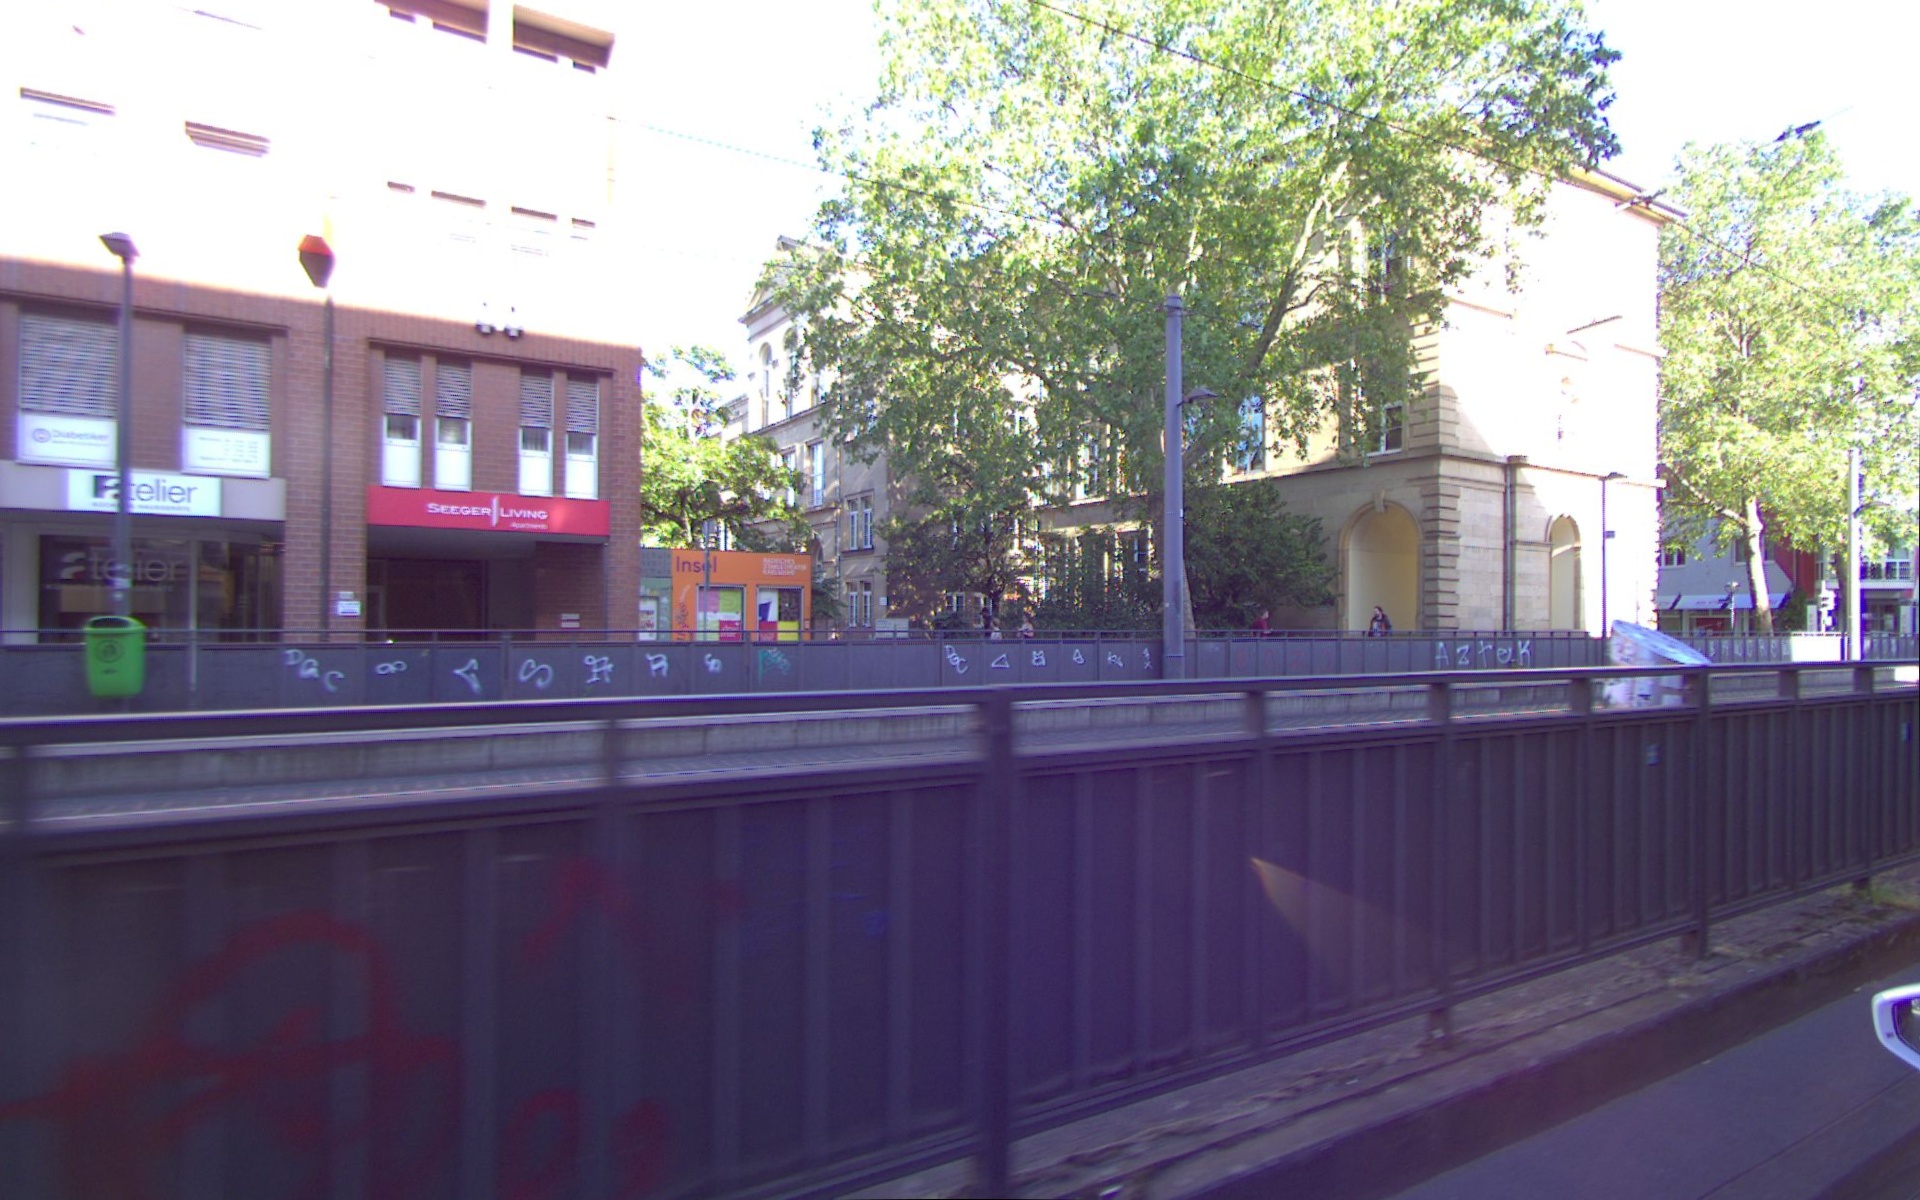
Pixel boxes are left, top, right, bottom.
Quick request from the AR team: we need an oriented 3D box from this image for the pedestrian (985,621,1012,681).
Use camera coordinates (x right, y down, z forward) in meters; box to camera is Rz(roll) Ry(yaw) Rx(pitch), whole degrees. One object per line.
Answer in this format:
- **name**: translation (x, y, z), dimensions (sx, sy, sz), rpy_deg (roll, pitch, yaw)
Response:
- **pedestrian**: translation (0.997, 1.317, 26.237), dimensions (0.468, 1.550, 0.581), rpy_deg (1, 0, -29)

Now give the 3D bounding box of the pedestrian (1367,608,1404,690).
- **pedestrian**: translation (10.765, 1.222, 25.394), dimensions (0.678, 2.040, 0.700), rpy_deg (1, 0, 40)

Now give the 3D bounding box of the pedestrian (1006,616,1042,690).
- **pedestrian**: translation (1.629, 1.338, 25.514), dimensions (0.640, 1.830, 0.684), rpy_deg (1, 0, -29)

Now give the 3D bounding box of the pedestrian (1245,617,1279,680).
- **pedestrian**: translation (8.498, 1.341, 28.283), dimensions (0.607, 1.736, 0.675), rpy_deg (0, 0, -32)

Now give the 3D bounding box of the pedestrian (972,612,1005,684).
- **pedestrian**: translation (0.751, 1.271, 26.954), dimensions (0.618, 1.907, 0.704), rpy_deg (1, -1, -26)
